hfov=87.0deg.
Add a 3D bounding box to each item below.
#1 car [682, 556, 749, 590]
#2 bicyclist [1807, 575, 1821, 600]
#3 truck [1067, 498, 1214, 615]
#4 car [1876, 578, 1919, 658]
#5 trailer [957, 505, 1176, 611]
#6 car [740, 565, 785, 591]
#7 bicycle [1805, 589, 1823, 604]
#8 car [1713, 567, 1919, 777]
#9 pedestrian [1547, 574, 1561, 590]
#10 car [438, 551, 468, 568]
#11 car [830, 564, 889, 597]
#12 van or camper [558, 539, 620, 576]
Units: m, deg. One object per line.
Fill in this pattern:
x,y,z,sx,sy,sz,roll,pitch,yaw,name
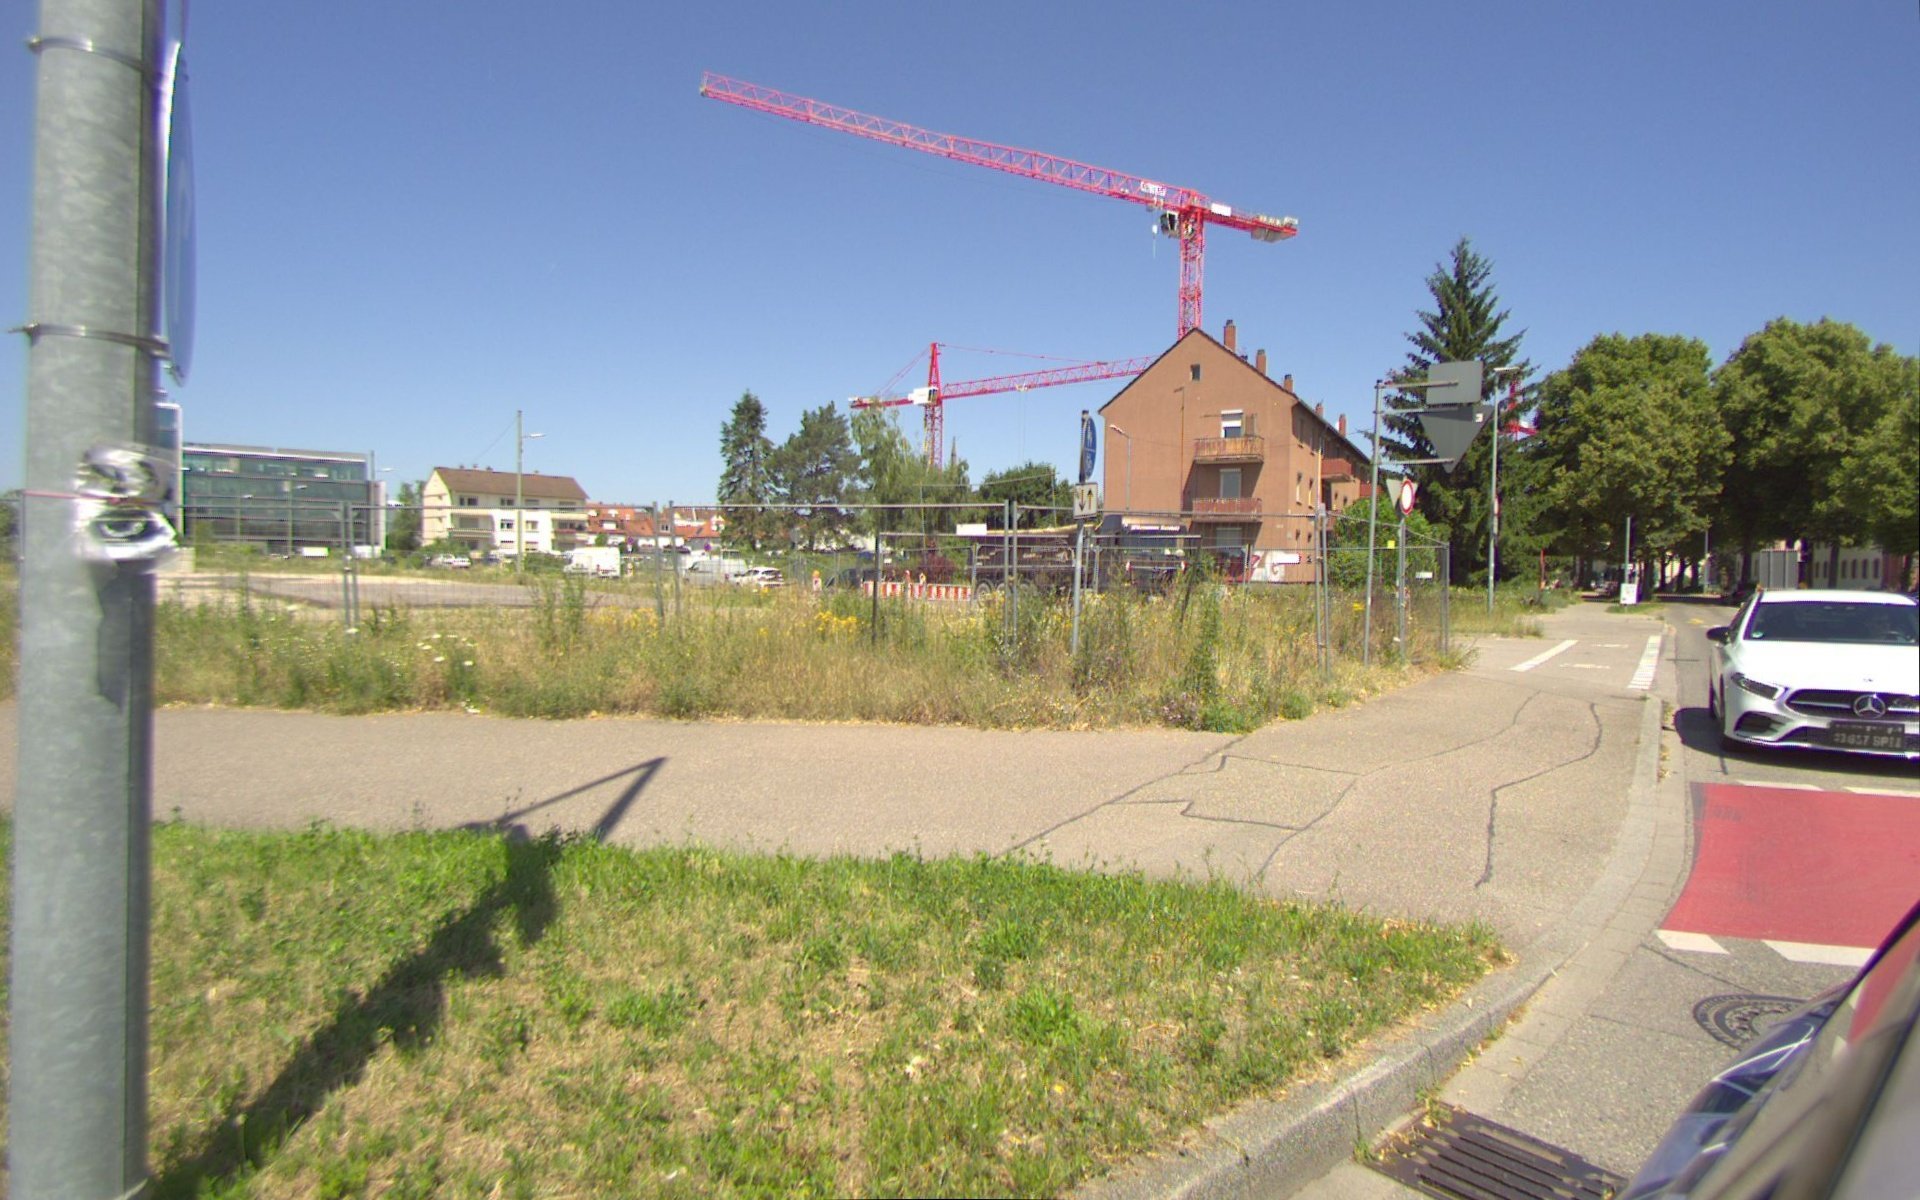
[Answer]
-15.501,-1.748,63.968,4.663,2.038,1.758,3,2,41,car
57.300,-0.863,67.929,0.564,1.630,0.732,2,2,30,bicyclist
5.879,-1.423,33.783,3.098,3.576,4.976,1,2,-12,truck
18.293,0.381,17.181,1.772,1.469,4.607,1,1,9,car
3.751,-1.586,38.671,3.105,3.576,8.993,0,2,-36,trailer
-11.781,-1.330,60.246,1.394,1.422,2.786,-2,4,-42,car
57.283,-0.233,67.928,0.558,0.927,1.888,2,2,30,bicycle
8.181,0.510,9.360,1.770,1.564,3.914,2,2,35,car
56.975,-1.737,97.083,1.019,1.536,0.673,2,2,36,pedestrian
-50.232,-3.976,100.225,1.653,1.606,3.613,-2,2,-44,car
-5.312,-1.022,53.018,1.346,1.633,3.414,0,2,-41,car
-28.365,-3.256,77.227,1.898,2.634,6.988,0,2,-43,van or camper
